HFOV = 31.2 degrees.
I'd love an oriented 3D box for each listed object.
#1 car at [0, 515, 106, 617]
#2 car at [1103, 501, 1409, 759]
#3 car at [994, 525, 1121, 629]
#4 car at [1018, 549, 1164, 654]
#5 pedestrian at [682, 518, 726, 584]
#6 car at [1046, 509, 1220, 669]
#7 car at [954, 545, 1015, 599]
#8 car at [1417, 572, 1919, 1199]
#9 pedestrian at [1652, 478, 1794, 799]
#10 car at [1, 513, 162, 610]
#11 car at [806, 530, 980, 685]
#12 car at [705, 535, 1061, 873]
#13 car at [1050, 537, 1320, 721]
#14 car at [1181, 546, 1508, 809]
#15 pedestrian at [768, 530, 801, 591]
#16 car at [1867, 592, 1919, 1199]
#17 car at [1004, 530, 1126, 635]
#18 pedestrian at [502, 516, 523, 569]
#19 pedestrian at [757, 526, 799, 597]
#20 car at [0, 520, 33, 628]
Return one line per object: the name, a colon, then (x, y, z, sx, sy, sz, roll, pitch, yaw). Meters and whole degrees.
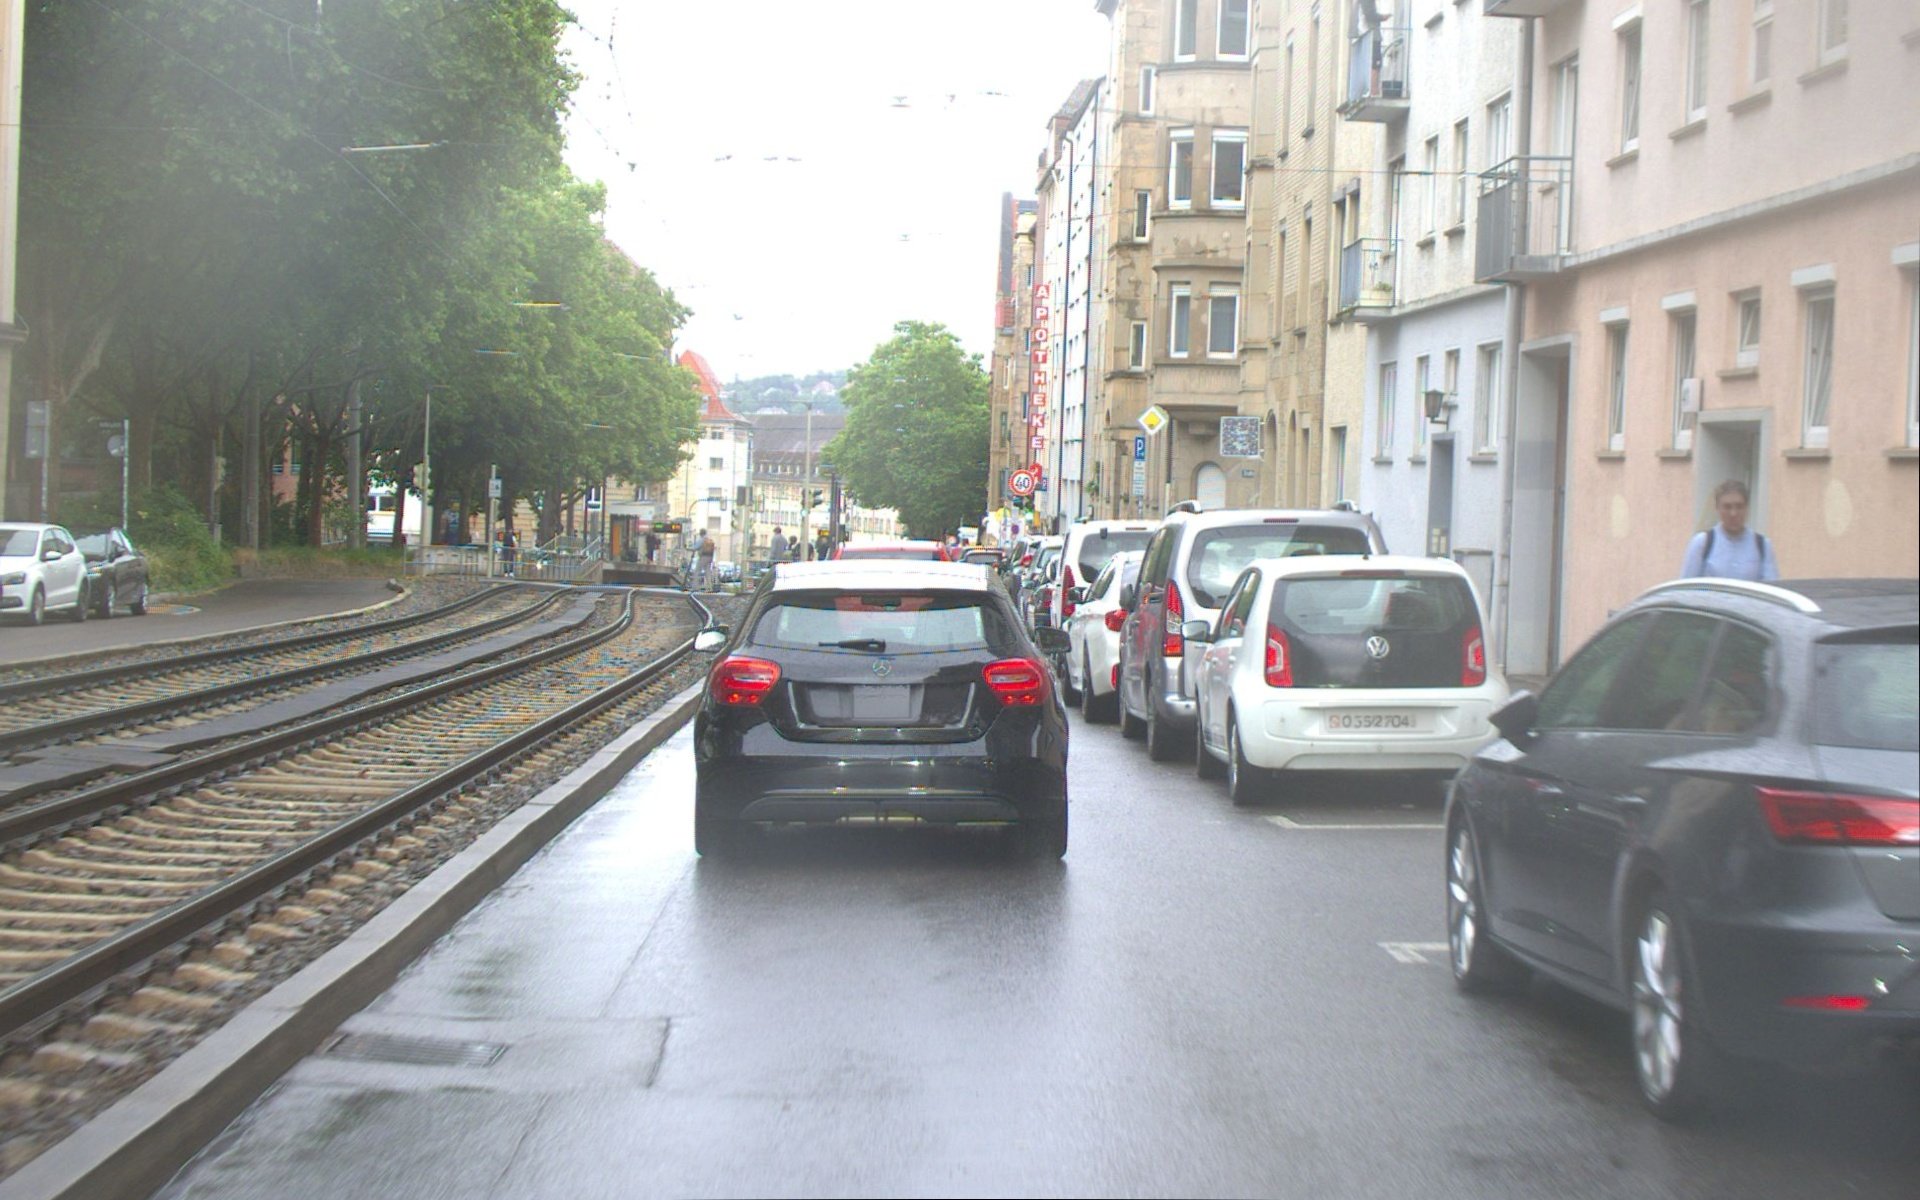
car: (-13.413, -0.499, 48.936, 1.500, 1.386, 3.987, -1, 1, 0)
car: (2.107, 0.162, 25.553, 1.790, 1.759, 4.212, 0, 1, -2)
car: (1.644, -0.421, 59.093, 1.766, 1.662, 4.333, 2, 1, -3)
car: (1.798, -0.006, 48.431, 1.717, 1.342, 4.462, 2, 1, -2)
pedestrian: (-6.789, -1.302, 91.239, 1.054, 1.713, 0.904, 2, 1, 1)
car: (1.975, -0.167, 40.373, 1.828, 1.744, 4.467, 1, 1, 1)
car: (0.743, -0.889, 107.567, 1.827, 1.612, 3.864, -1, 1, -1)
car: (2.554, 0.652, 10.023, 1.669, 1.405, 4.312, 0, 1, -3)
pedestrian: (4.259, 0.206, 19.215, 0.607, 1.757, 0.688, -1, 1, -2)
car: (-13.671, -0.629, 53.687, 1.614, 1.424, 3.853, 0, 2, -1)
car: (-0.727, 0.040, 37.609, 1.785, 1.575, 4.000, 1, 1, -1)
car: (-0.393, 0.437, 17.300, 1.580, 1.499, 3.575, 1, 1, -1)
car: (1.904, 0.191, 30.540, 1.871, 1.450, 4.903, 1, 1, -2)
car: (2.289, 0.411, 21.235, 1.570, 1.457, 3.600, 0, 1, -1)
pedestrian: (-4.692, -1.059, 91.994, 0.806, 1.628, 0.892, -1, 1, 0)
car: (2.649, 0.739, 4.643, 1.667, 1.429, 3.957, 0, 1, -2)
car: (1.598, -0.297, 53.543, 1.693, 1.524, 4.000, 1, 1, -1)
pedestrian: (-14.887, -1.917, 114.308, 0.534, 1.748, 0.607, 3, 1, 0)
pedestrian: (-5.119, -1.088, 96.560, 1.137, 1.991, 1.173, -1, 1, -5)
car: (-13.396, -0.323, 44.486, 1.675, 1.409, 4.010, -1, 1, 0)
